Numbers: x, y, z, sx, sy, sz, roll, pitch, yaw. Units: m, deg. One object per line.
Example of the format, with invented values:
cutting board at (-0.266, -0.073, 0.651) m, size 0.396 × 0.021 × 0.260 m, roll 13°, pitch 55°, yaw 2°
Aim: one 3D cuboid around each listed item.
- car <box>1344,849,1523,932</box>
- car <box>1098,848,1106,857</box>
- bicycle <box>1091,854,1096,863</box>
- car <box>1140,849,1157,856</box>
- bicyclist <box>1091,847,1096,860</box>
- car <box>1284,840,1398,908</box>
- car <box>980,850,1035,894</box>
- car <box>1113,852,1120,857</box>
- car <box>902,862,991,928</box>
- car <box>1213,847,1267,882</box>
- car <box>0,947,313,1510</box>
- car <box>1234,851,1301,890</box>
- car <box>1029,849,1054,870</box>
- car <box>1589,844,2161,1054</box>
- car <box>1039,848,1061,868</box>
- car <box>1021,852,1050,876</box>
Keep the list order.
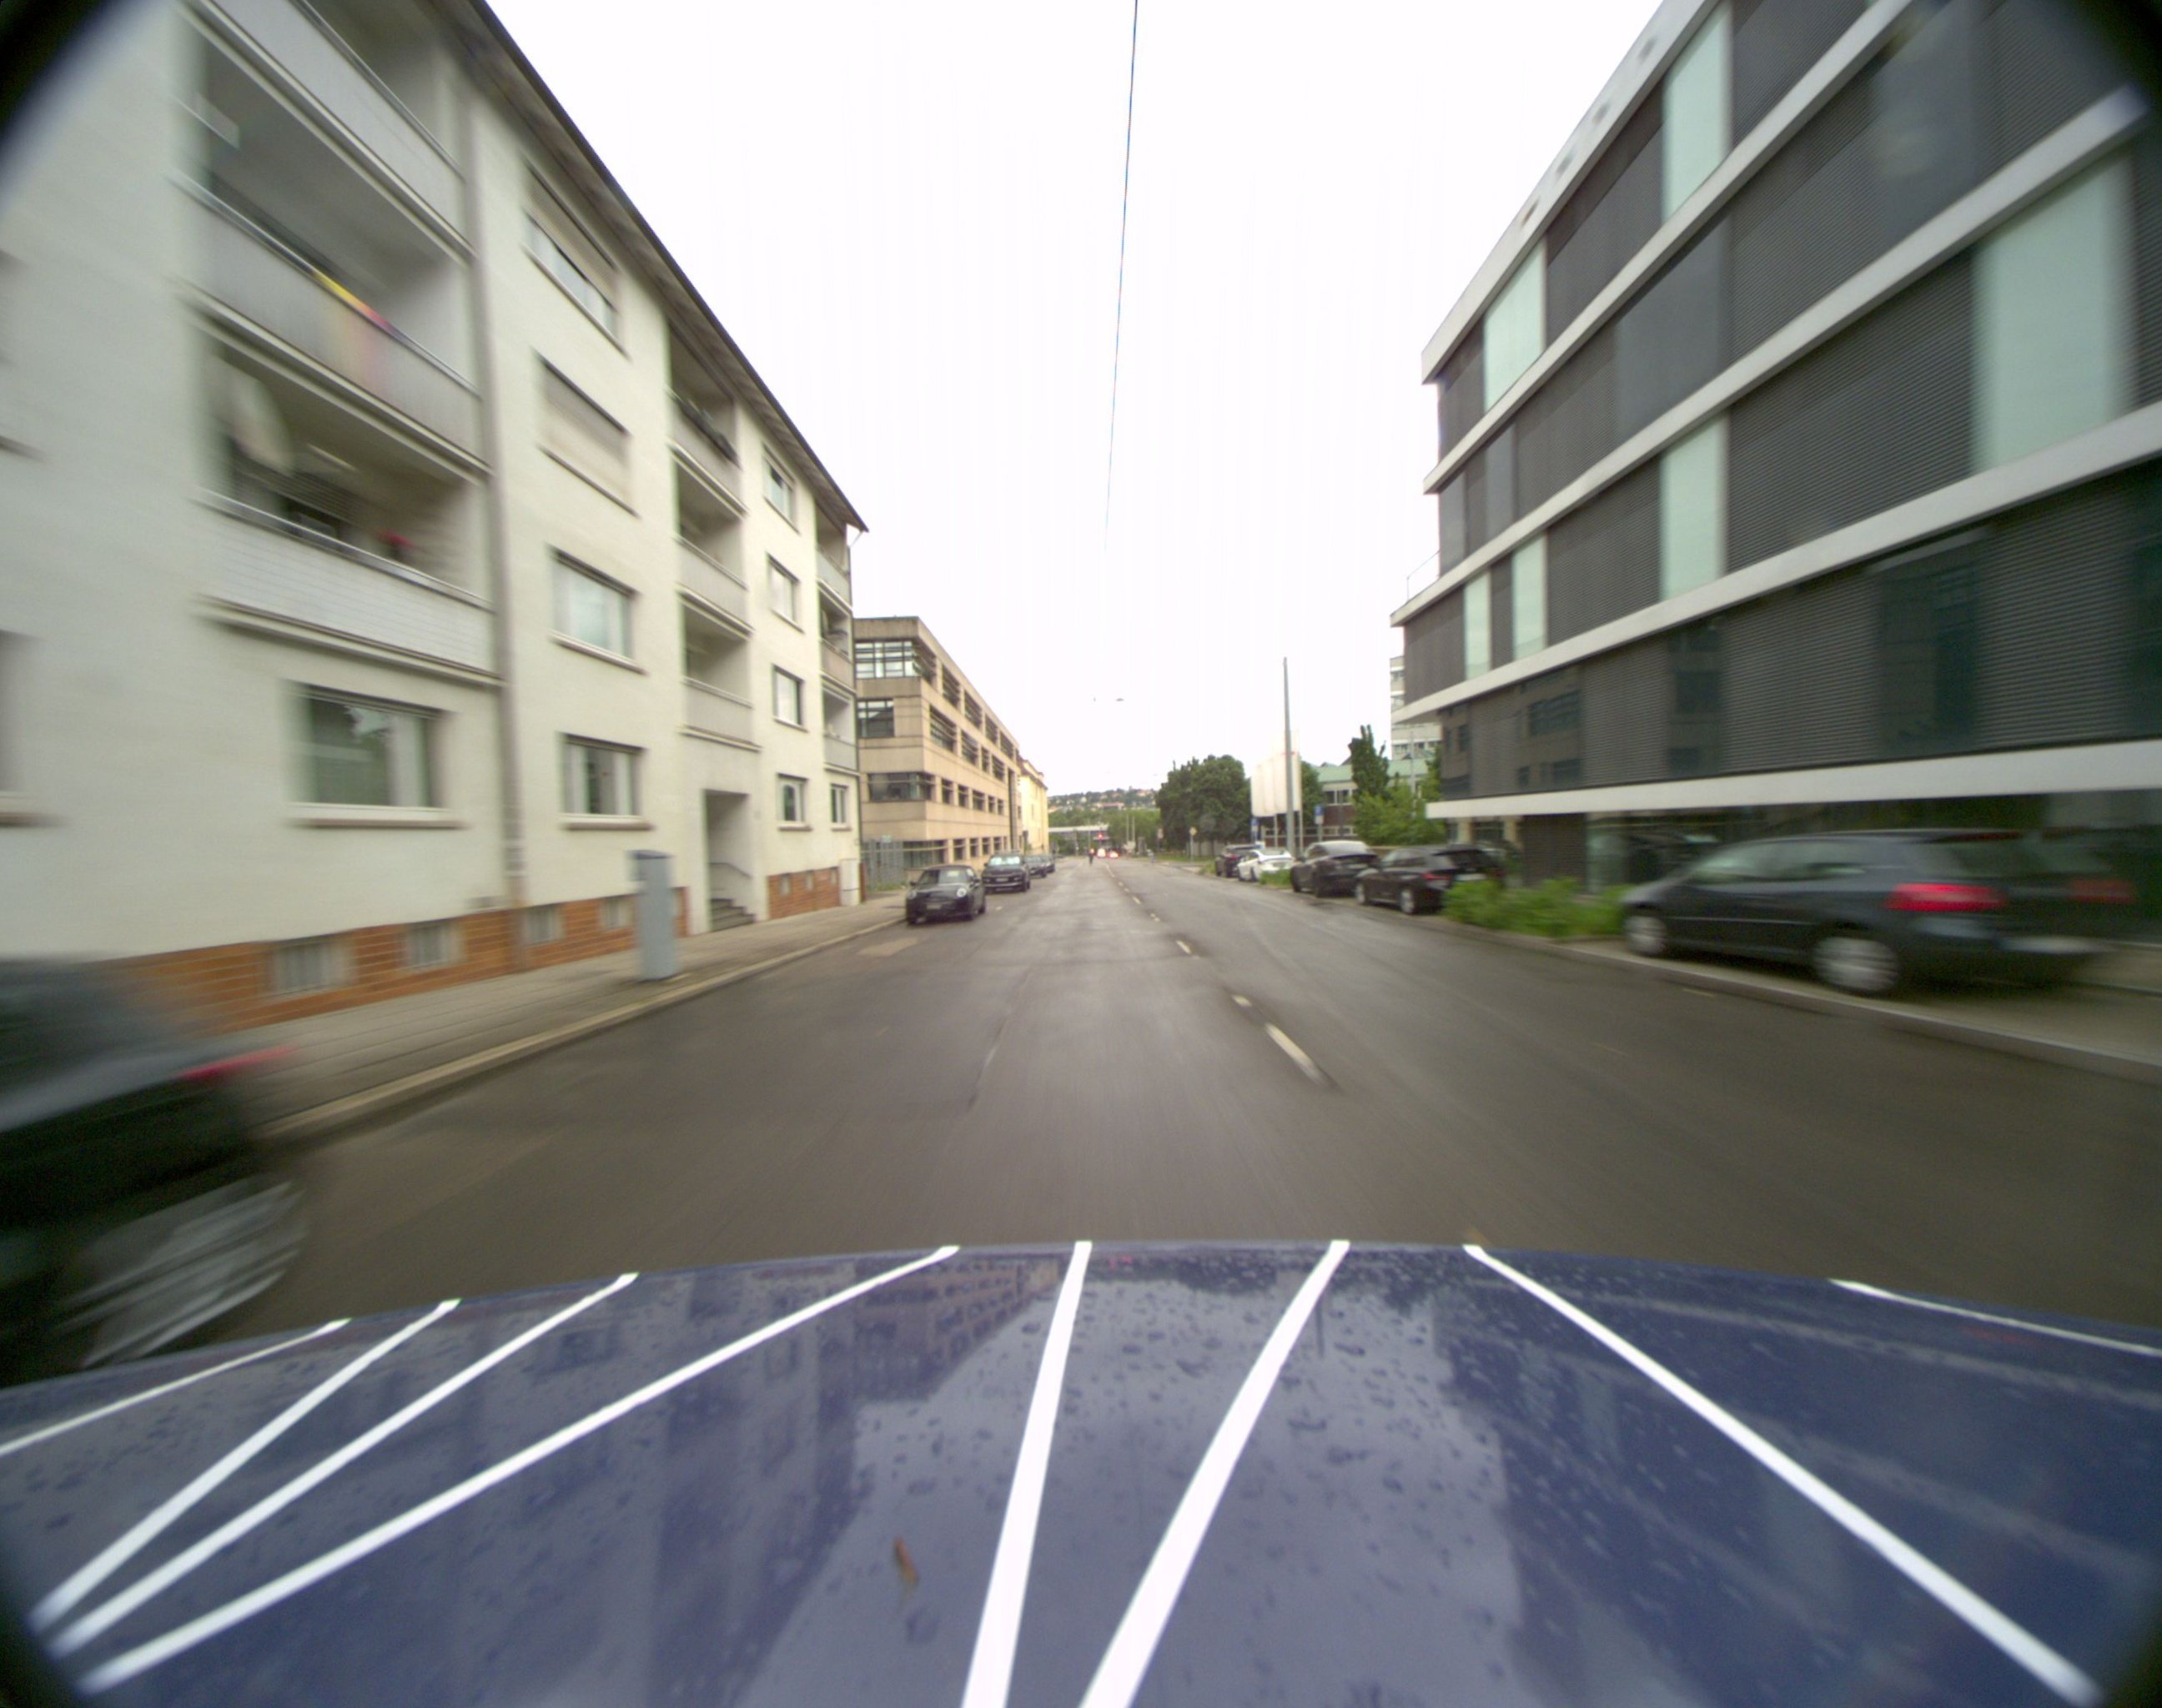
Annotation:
car at (7.703, 0.693, 17.211) m, size 1.876 × 1.464 × 4.740 m, roll -3°, pitch 1°, yaw 1°
car at (6.232, -0.483, 222.626) m, size 1.988 × 2.514 × 5.630 m, roll -2°, pitch 1°, yaw -1°
bicycle at (1.453, 0.525, 88.550) m, size 0.448 × 0.957 × 1.690 m, roll -3°, pitch 0°, yaw 3°
car at (17.102, -0.405, 192.393) m, size 1.871 × 1.600 × 4.515 m, roll -4°, pitch 1°, yaw -33°
bicyclist at (1.447, -0.052, 88.621) m, size 0.485 × 1.425 × 0.930 m, roll -3°, pitch 2°, yaw 3°
car at (7.789, 0.515, 23.337) m, size 1.967 × 1.740 × 4.942 m, roll -3°, pitch 1°, yaw 3°
car at (-3.329, 0.756, 35.383) m, size 1.940 × 1.740 × 4.795 m, roll -3°, pitch 1°, yaw 1°
car at (9.855, 0.178, 210.351) m, size 1.886 × 1.482 × 5.220 m, roll 0°, pitch 1°, yaw 3°
car at (-3.557, 1.028, 20.728) m, size 1.677 × 1.451 × 3.763 m, roll -3°, pitch 1°, yaw 0°
car at (8.248, 0.495, 39.760) m, size 1.854 × 1.608 × 4.490 m, roll -3°, pitch 1°, yaw 1°
car at (-3.898, 1.167, 0.943) m, size 1.710 × 1.446 × 3.984 m, roll -3°, pitch 1°, yaw 1°
car at (8.021, 0.657, 32.997) m, size 1.825 × 1.411 × 4.401 m, roll -3°, pitch 1°, yaw 1°
car at (-3.283, 0.414, 63.508) m, size 1.730 × 1.504 × 4.056 m, roll -5°, pitch 2°, yaw 0°
car at (7.716, 0.703, 7.974) m, size 1.867 × 1.480 × 4.346 m, roll -3°, pitch 1°, yaw 1°
car at (-2.713, 0.321, 68.093) m, size 1.775 × 1.595 × 4.393 m, roll -3°, pitch 1°, yaw -1°
car at (-3.057, 0.642, 52.180) m, size 1.747 × 1.524 × 4.319 m, roll -1°, pitch 0°, yaw -1°
